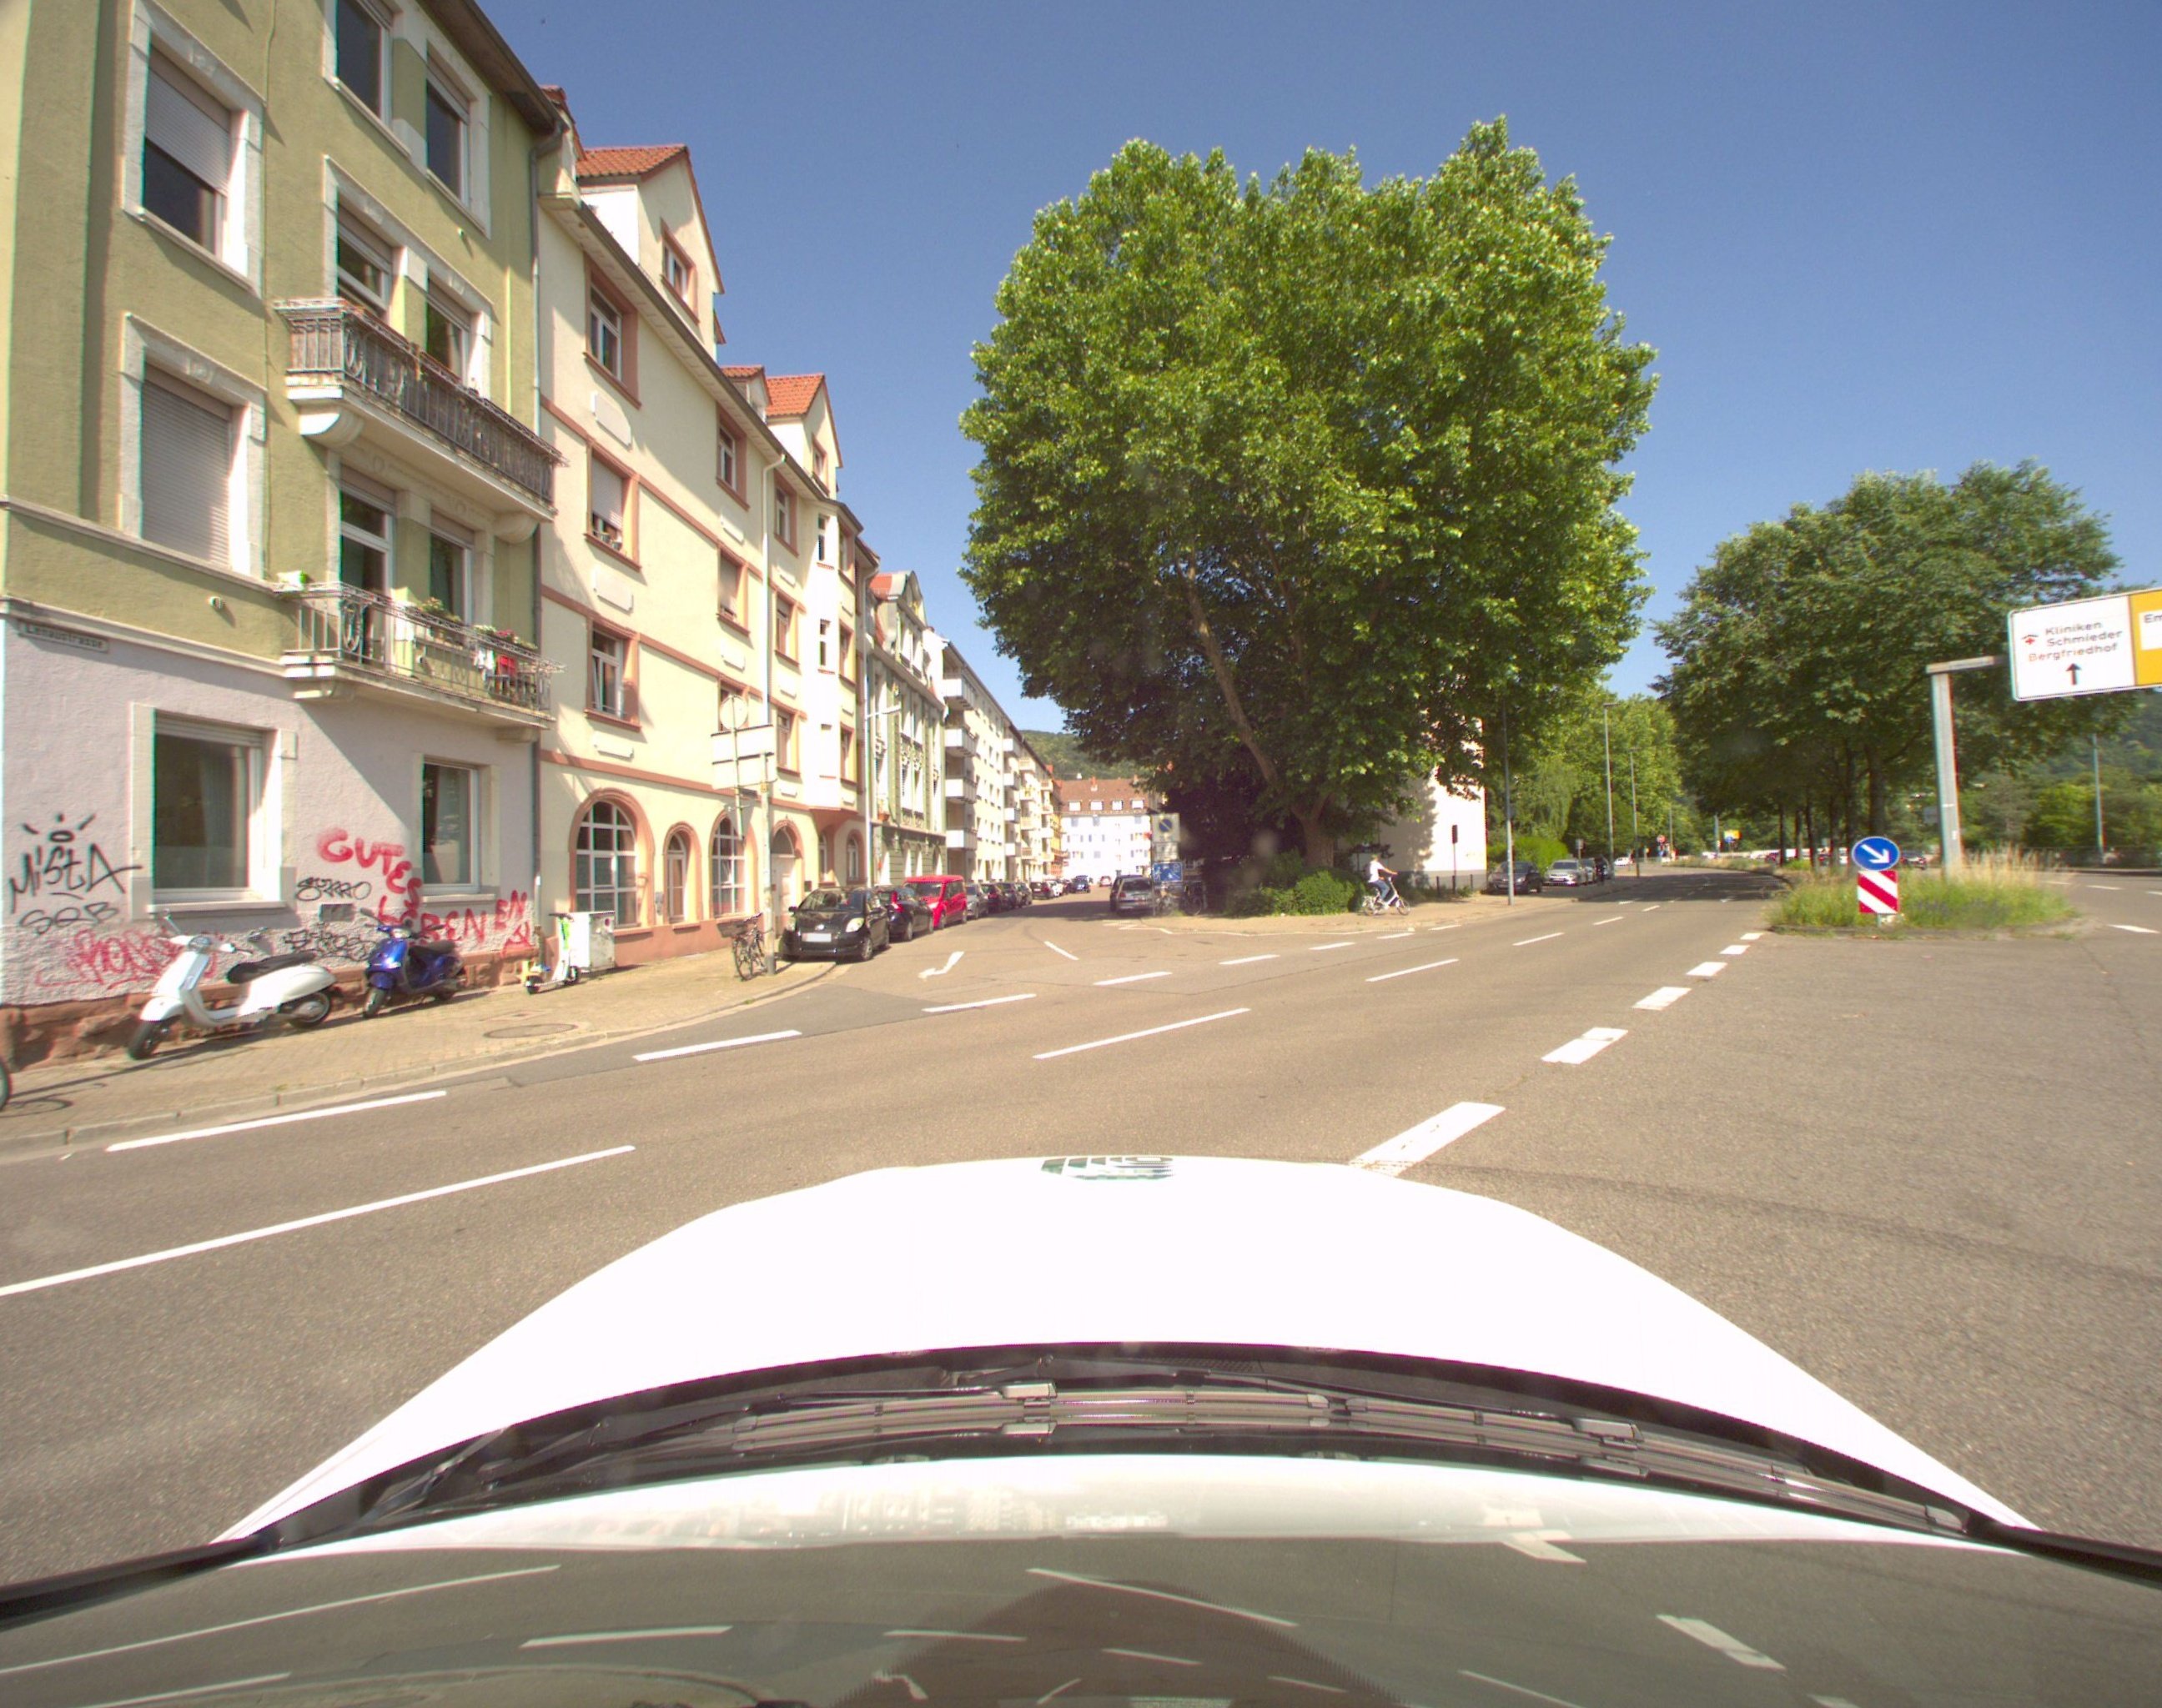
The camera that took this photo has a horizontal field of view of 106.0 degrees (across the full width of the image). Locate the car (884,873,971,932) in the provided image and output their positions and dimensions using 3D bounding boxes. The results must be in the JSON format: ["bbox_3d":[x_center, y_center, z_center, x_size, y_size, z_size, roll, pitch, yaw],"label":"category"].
[{"bbox_3d":[-5.172,1.593,28.012,1.858,1.841,4.230,-2,-1,4],"label":"car"}]

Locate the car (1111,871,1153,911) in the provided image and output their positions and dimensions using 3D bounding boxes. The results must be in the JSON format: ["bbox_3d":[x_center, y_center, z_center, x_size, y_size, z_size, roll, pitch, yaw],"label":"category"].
[{"bbox_3d":[2.296,1.610,36.497,1.740,1.657,3.784,-2,-1,4],"label":"car"}]

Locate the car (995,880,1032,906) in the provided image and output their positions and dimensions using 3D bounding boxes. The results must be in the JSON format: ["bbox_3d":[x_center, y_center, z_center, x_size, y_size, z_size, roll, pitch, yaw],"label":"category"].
[{"bbox_3d":[-4.109,2.363,50.295,1.856,1.486,4.000,-2,-1,1],"label":"car"}]

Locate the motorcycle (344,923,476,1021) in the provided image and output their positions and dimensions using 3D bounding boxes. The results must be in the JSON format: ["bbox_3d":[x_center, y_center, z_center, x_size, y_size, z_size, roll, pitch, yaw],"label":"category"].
[{"bbox_3d":[-8.678,1.489,10.599,0.425,1.094,1.451,0,-2,4],"label":"motorcycle"}]

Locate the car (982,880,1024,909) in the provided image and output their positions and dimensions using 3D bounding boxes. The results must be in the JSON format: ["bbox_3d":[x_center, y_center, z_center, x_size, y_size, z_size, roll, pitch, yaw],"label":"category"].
[{"bbox_3d":[-4.293,2.210,45.324,1.856,1.486,4.000,-2,-1,1],"label":"car"}]

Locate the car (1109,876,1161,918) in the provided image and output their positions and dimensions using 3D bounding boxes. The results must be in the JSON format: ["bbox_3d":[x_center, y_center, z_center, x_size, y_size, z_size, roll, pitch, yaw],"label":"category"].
[{"bbox_3d":[2.083,1.584,31.099,1.796,1.451,3.798,-2,-1,4],"label":"car"}]

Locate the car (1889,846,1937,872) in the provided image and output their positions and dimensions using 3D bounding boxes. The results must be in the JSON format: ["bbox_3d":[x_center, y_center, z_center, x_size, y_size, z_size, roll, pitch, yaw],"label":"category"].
[{"bbox_3d":[64.205,0.369,62.900,1.974,1.891,4.025,-3,-2,38],"label":"car"}]

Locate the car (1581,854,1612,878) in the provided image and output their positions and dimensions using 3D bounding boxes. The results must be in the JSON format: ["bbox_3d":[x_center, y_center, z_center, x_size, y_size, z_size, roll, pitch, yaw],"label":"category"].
[{"bbox_3d":[38.542,0.877,60.838,1.752,1.680,4.025,-3,-2,34],"label":"car"}]

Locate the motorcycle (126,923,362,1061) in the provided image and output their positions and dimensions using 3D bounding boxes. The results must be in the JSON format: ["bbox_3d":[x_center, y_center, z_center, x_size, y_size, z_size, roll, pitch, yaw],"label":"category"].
[{"bbox_3d":[-8.721,1.383,8.601,0.469,1.150,1.770,0,0,10],"label":"motorcycle"}]

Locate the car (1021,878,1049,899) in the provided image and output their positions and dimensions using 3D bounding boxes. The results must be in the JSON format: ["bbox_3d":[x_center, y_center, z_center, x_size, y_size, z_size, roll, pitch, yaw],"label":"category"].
[{"bbox_3d":[-3.590,2.689,63.871,1.856,1.486,3.863,-2,-1,1],"label":"car"}]

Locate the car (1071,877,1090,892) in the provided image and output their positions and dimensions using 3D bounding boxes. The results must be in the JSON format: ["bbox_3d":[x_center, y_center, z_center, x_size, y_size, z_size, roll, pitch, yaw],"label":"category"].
[{"bbox_3d":[-0.032,3.209,85.101,1.740,1.461,3.784,-2,-1,4],"label":"car"}]

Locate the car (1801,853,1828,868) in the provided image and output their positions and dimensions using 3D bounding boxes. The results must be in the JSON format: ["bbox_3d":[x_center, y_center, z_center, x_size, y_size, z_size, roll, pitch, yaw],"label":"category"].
[{"bbox_3d":[80.499,0.700,89.422,1.613,1.495,3.704,-3,-2,34],"label":"car"}]

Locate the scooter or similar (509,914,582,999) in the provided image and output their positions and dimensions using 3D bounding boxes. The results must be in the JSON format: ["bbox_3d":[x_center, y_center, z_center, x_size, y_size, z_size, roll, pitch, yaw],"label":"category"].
[{"bbox_3d":[-8.086,1.518,12.352,0.273,1.127,1.444,0,-2,-6],"label":"scooter or similar"}]

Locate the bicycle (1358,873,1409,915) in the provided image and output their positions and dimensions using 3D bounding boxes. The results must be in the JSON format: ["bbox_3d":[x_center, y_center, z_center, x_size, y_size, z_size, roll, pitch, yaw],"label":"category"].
[{"bbox_3d":[8.991,1.192,24.257,1.279,1.189,0.553,-1,-2,-2],"label":"bicycle"}]

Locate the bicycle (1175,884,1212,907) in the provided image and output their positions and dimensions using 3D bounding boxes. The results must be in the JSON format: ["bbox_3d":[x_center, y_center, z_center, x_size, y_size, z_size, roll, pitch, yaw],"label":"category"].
[{"bbox_3d":[4.950,1.805,35.745,1.564,0.993,0.457,0,0,1],"label":"bicycle"}]

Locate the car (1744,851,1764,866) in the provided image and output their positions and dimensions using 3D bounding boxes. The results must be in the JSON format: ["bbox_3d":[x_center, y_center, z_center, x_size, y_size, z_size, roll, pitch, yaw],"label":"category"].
[{"bbox_3d":[87.147,0.582,105.527,1.613,1.812,3.615,-2,-2,34],"label":"car"}]

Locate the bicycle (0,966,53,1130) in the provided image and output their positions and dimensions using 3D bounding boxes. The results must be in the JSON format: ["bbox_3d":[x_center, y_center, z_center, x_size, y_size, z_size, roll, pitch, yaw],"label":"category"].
[{"bbox_3d":[-8.270,1.393,5.386,1.744,1.087,0.571,0,-2,-42],"label":"bicycle"}]

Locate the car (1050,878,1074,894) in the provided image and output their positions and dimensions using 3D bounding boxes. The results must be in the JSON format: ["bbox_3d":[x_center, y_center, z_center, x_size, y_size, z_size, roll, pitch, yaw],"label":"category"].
[{"bbox_3d":[-1.885,3.153,80.937,1.985,1.478,4.003,-2,-1,3],"label":"car"}]

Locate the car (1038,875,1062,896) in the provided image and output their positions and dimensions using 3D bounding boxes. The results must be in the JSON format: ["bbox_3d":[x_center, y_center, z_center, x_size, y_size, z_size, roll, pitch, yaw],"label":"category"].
[{"bbox_3d":[-2.664,2.708,70.696,1.856,1.722,3.863,-2,-1,1],"label":"car"}]

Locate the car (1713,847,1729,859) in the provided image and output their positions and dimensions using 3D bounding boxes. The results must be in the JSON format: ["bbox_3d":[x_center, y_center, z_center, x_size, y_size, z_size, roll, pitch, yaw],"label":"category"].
[{"bbox_3d":[101.582,-0.204,129.219,1.613,1.812,3.615,-3,-2,34],"label":"car"}]

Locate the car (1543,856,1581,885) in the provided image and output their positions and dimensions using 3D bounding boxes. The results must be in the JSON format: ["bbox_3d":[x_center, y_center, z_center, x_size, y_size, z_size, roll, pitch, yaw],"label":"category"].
[{"bbox_3d":[27.395,0.932,46.323,1.625,1.574,4.025,-3,-2,33],"label":"car"}]

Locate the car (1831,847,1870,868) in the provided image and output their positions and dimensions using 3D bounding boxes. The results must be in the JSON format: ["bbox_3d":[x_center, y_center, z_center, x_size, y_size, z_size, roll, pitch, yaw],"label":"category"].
[{"bbox_3d":[72.213,0.364,76.446,1.974,1.891,4.025,-3,-2,34],"label":"car"}]

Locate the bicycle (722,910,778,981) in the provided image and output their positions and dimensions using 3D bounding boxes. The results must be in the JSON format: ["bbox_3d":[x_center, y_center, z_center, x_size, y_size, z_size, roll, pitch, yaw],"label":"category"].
[{"bbox_3d":[-5.655,1.534,13.999,0.625,1.034,1.873,-1,-1,-14],"label":"bicycle"}]

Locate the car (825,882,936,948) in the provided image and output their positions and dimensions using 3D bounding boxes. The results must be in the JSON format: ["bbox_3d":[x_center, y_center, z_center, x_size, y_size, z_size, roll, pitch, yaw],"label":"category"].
[{"bbox_3d":[-5.464,1.612,22.728,1.975,1.543,4.064,-2,-1,1],"label":"car"}]

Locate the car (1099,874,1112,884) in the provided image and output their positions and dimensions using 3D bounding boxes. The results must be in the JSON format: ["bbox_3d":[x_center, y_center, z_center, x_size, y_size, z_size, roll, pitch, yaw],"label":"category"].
[{"bbox_3d":[3.549,3.622,118.465,1.740,1.481,3.784,-2,-1,4],"label":"car"}]

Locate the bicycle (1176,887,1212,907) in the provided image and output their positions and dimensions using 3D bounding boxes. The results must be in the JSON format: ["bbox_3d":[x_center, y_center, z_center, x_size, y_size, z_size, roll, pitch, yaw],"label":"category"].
[{"bbox_3d":[4.825,1.835,34.750,1.496,0.834,0.384,0,0,1],"label":"bicycle"}]

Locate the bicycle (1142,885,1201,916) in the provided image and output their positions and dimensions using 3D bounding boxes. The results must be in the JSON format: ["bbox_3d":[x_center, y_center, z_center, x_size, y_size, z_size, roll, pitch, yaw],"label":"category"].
[{"bbox_3d":[3.119,1.610,28.166,1.887,0.984,0.973,-2,-1,-2],"label":"bicycle"}]

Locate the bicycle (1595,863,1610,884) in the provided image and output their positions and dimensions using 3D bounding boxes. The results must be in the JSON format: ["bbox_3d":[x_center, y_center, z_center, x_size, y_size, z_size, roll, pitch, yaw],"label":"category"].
[{"bbox_3d":[29.464,1.082,46.023,0.653,1.122,1.814,-3,-2,33],"label":"bicycle"}]

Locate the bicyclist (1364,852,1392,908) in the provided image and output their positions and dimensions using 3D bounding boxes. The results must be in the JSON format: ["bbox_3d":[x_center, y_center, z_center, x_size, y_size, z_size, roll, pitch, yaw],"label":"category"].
[{"bbox_3d":[8.843,0.777,24.261,0.586,1.633,0.540,-1,-2,-2],"label":"bicyclist"}]

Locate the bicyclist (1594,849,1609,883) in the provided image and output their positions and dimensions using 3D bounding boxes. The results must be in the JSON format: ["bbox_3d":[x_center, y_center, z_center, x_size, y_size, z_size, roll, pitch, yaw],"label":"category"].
[{"bbox_3d":[29.537,0.697,46.184,0.639,1.894,0.844,-3,-2,33],"label":"bicyclist"}]

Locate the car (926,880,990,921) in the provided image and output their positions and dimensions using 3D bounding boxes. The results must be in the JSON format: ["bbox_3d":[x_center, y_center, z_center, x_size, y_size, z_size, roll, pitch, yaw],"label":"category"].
[{"bbox_3d":[-4.987,1.871,33.453,1.856,1.486,4.001,-2,-1,2],"label":"car"}]

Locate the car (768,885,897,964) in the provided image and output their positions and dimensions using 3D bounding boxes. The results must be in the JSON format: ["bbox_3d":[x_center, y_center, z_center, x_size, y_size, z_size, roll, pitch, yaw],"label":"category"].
[{"bbox_3d":[-5.290,1.441,17.804,1.817,1.447,3.763,-2,-1,-3],"label":"car"}]

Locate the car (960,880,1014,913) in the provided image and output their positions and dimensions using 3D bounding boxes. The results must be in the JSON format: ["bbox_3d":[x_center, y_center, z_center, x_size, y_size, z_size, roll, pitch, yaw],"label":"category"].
[{"bbox_3d":[-4.621,2.064,40.426,1.854,1.486,4.005,-2,-2,5],"label":"car"}]

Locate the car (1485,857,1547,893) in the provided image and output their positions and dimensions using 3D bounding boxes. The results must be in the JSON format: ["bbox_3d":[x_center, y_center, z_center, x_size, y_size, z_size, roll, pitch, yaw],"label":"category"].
[{"bbox_3d":[19.903,0.936,37.196,1.770,1.512,3.918,-3,-2,39],"label":"car"}]
